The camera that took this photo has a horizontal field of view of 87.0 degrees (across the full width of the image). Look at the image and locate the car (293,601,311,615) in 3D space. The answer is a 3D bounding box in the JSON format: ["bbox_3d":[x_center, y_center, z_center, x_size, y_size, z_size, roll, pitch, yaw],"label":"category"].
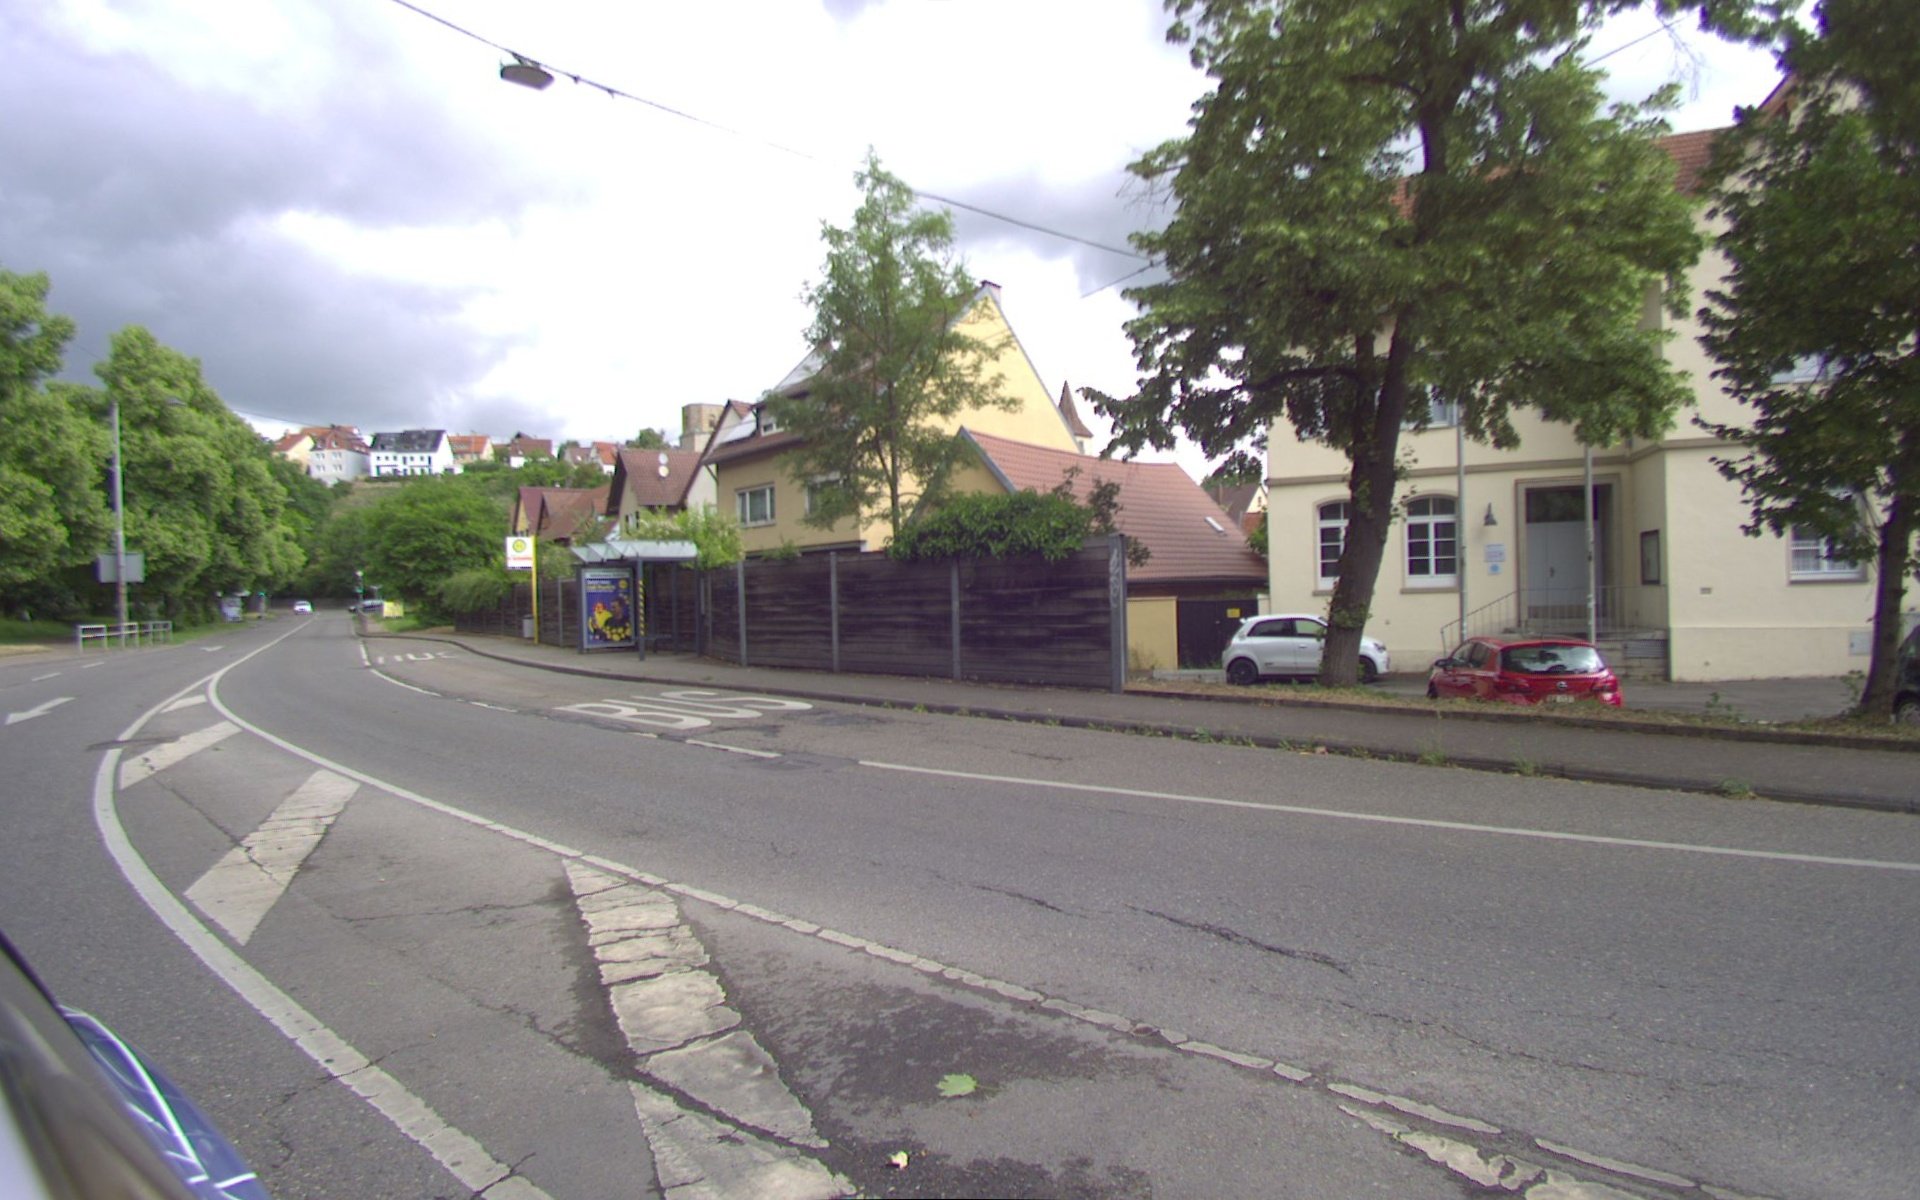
[{"bbox_3d":[-77.340,0.968,118.913,1.735,1.536,3.693,-1,0,-34],"label":"car"}]

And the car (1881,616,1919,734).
[{"bbox_3d":[12.631,0.931,11.315,1.626,1.450,3.567,-1,0,7],"label":"car"}]

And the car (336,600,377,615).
[{"bbox_3d":[-69.630,0.848,116.805,1.757,1.596,3.647,-1,0,29],"label":"car"}]

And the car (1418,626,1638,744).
[{"bbox_3d":[8.142,1.143,14.888,1.644,1.393,3.708,-1,0,10],"label":"car"}]

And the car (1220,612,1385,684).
[{"bbox_3d":[7.718,1.053,22.896,3.411,1.490,1.600,-1,0,21],"label":"car"}]
